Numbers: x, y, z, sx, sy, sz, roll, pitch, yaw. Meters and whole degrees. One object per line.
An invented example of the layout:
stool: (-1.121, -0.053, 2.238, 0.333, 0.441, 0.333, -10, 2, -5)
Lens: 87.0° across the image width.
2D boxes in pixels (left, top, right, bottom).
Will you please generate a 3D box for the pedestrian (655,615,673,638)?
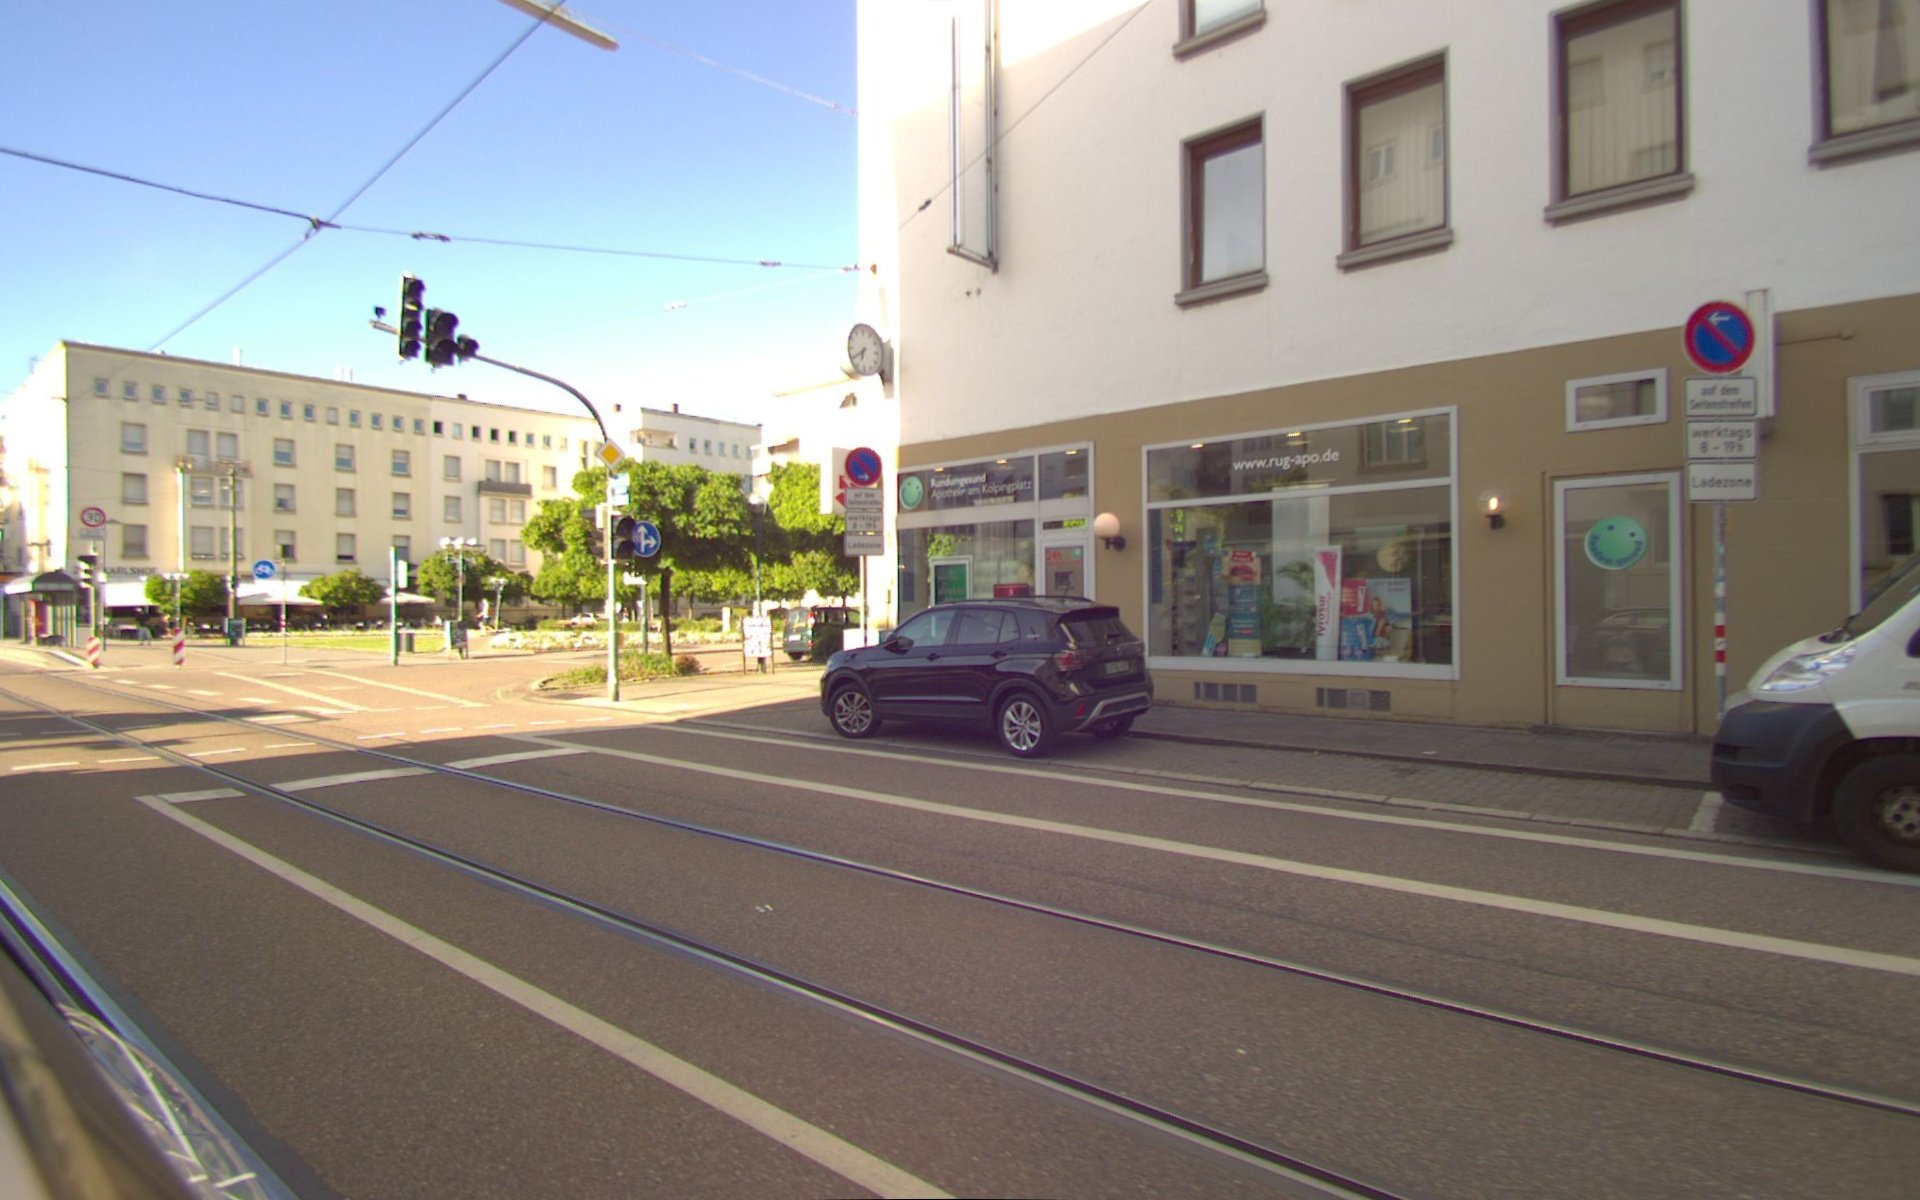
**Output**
pedestrian: (-18.103, 1.607, 61.894, 0.667, 1.428, 0.828, -1, -1, 39)

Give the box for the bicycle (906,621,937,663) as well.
bicycle: (-1.104, 1.179, 29.298, 0.620, 1.133, 2.434, -1, -1, 4)

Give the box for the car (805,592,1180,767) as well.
car: (0.235, 0.762, 11.346, 3.992, 1.564, 1.764, -1, 1, 42)

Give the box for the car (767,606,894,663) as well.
car: (-4.091, 1.056, 32.480, 1.676, 1.723, 3.938, -1, -1, 41)

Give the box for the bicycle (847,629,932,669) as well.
bicycle: (-1.904, 1.285, 27.084, 2.493, 0.995, 0.745, -1, -1, 42)

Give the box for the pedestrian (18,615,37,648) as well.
pedestrian: (-42.610, 1.440, 46.239, 0.609, 1.502, 0.545, -1, -1, 35)

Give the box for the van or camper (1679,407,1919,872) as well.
van or camper: (7.391, 0.148, 4.871, 6.228, 2.485, 2.150, -1, 1, 40)

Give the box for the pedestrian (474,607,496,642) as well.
pedestrian: (-23.828, 1.234, 50.735, 0.826, 1.708, 0.668, -1, -1, -4)

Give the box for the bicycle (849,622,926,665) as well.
bicycle: (-2.039, 1.192, 28.178, 2.436, 1.133, 0.620, -1, -1, 41)
